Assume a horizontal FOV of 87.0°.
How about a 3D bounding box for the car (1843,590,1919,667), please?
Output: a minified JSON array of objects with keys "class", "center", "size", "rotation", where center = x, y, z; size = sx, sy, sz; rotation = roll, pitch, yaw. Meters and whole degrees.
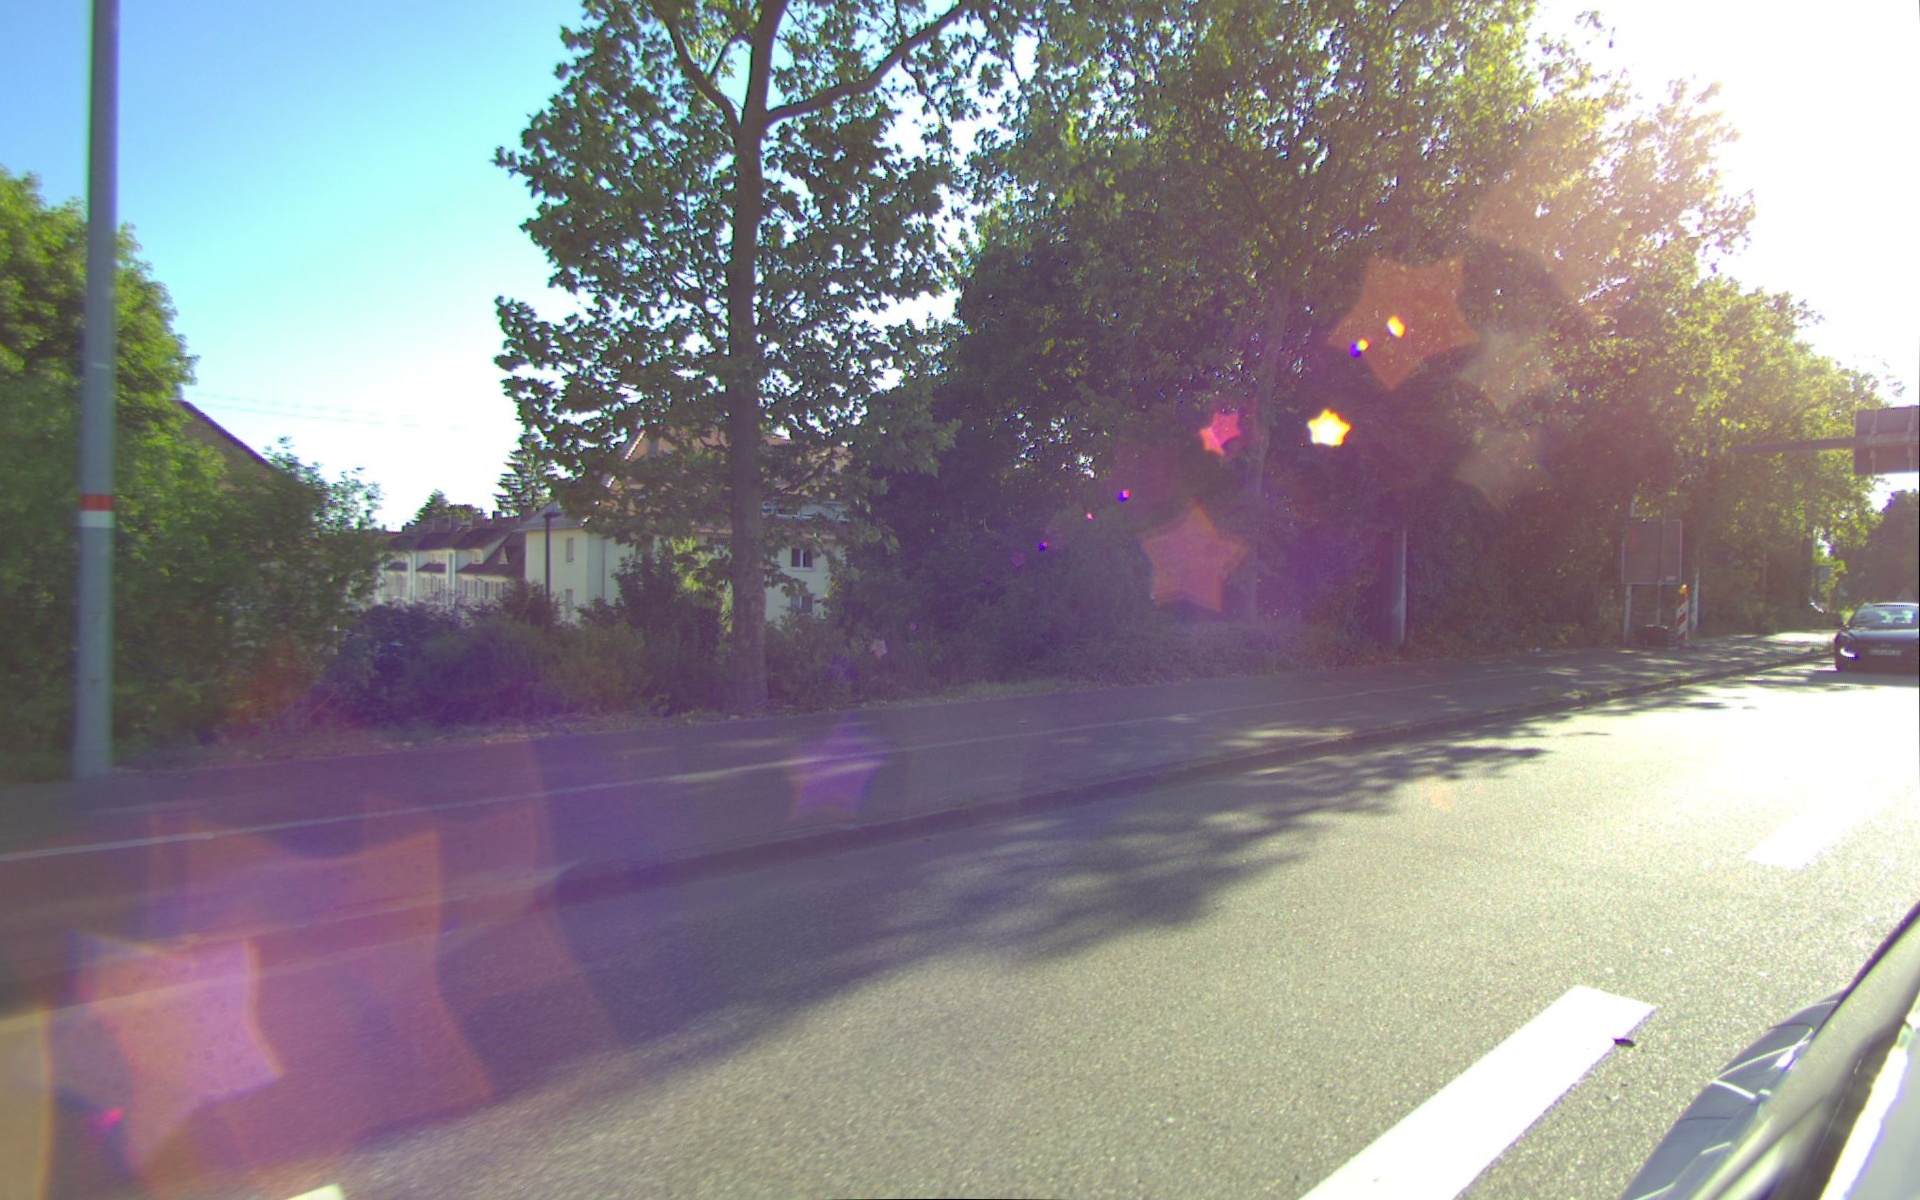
[{"class":"car","center":[20.991,0.580,22.286],"size":[3.930,1.558,1.785],"rotation":[0,1,-41]}]
